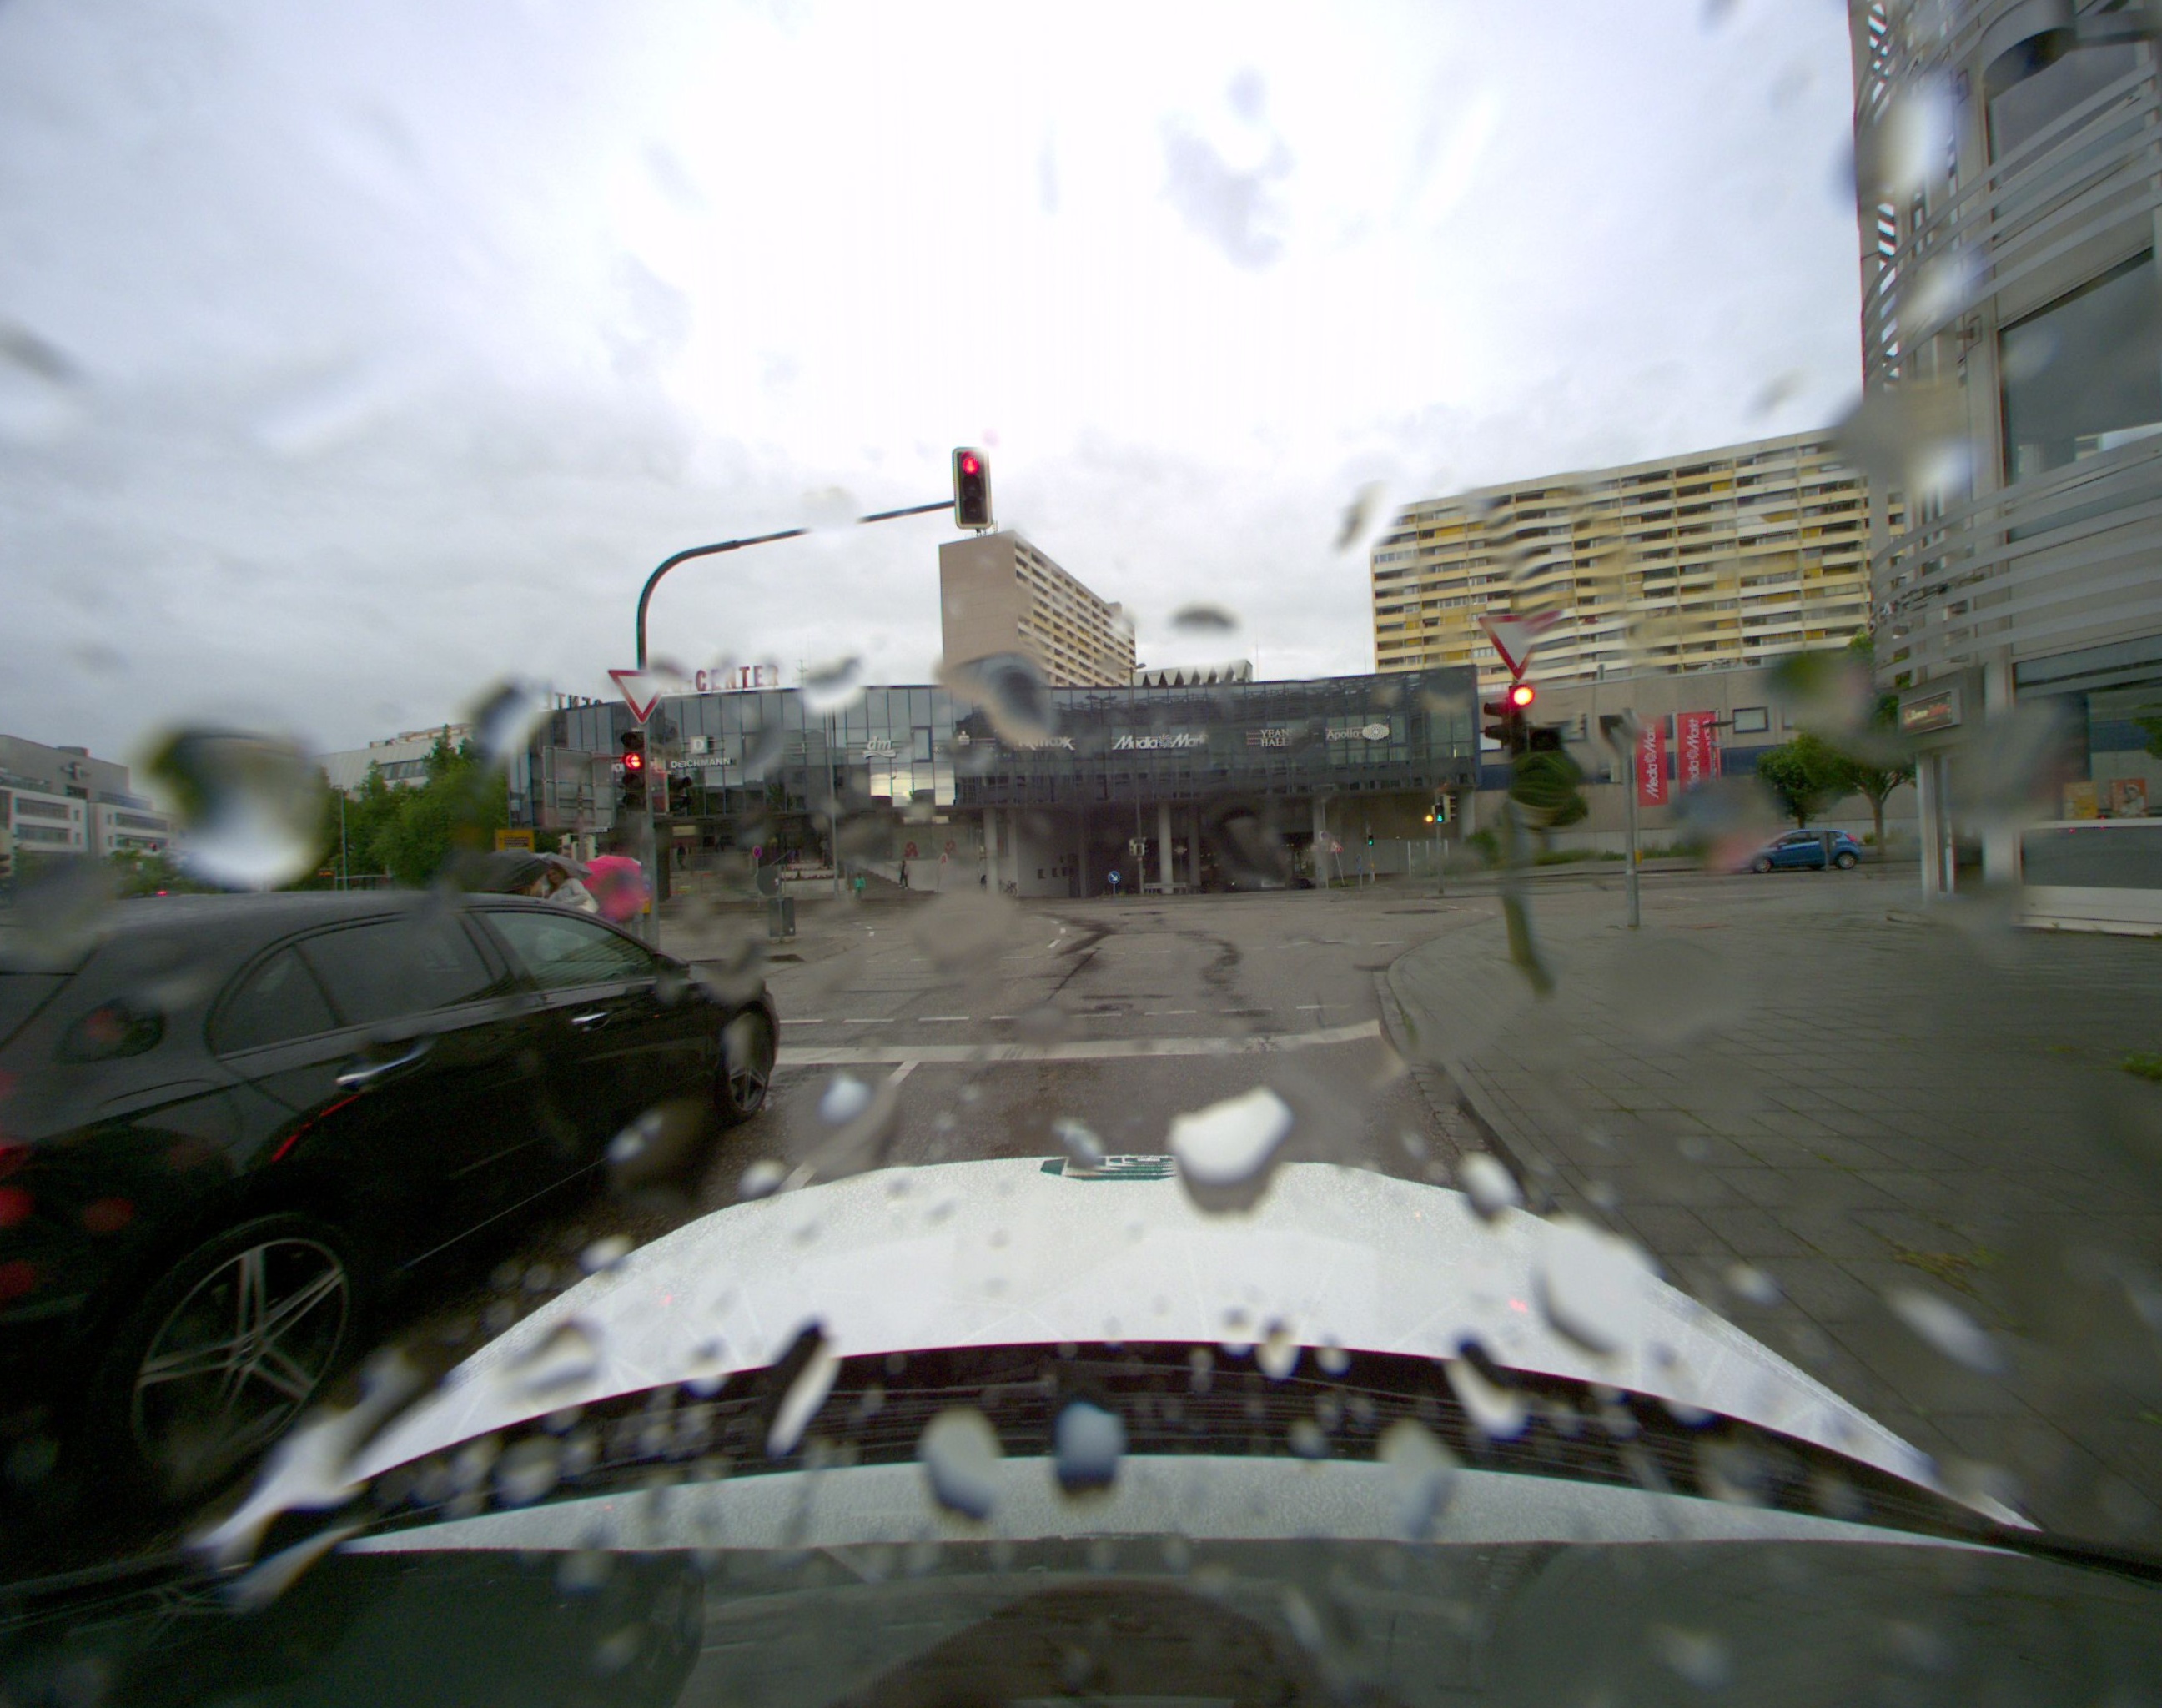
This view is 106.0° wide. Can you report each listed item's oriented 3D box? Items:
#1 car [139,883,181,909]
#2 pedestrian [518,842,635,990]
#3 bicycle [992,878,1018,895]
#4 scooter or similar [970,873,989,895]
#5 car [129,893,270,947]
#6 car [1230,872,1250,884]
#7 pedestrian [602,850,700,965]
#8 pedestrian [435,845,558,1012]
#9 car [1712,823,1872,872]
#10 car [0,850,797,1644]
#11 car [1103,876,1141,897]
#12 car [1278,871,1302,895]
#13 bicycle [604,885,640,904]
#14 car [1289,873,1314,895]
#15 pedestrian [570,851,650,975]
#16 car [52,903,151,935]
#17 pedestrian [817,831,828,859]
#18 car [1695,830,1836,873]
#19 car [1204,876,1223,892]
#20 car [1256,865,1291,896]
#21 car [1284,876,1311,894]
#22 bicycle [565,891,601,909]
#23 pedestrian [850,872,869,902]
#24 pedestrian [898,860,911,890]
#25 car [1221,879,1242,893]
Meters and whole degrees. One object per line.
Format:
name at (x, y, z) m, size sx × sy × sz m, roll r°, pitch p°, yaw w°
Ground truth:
car at (-72.566, 3.283, 64.136) m, size 4.085 × 1.895 × 2.062 m, roll -1°, pitch 0°, yaw 40°
pedestrian at (-6.376, 0.747, 10.293) m, size 1.123 × 1.744 × 0.865 m, roll -3°, pitch -1°, yaw 36°
bicycle at (-4.857, 2.098, 52.159) m, size 1.590 × 1.018 × 0.448 m, roll 5°, pitch -3°, yaw -27°
scooter or similar at (-6.459, 1.893, 51.753) m, size 1.167 × 1.373 × 0.487 m, roll 0°, pitch -1°, yaw -11°
car at (-27.165, 1.997, 25.068) m, size 5.079 × 1.414 × 2.137 m, roll -3°, pitch -2°, yaw 33°
car at (21.823, 3.327, 111.475) m, size 1.977 × 1.464 × 4.020 m, roll -3°, pitch -1°, yaw 20°
pedestrian at (-6.612, 0.793, 12.570) m, size 0.931 × 1.677 × 0.917 m, roll -2°, pitch -1°, yaw 3°
pedestrian at (-6.552, 0.799, 9.186) m, size 0.956 × 1.736 × 0.829 m, roll -2°, pitch -1°, yaw -26°
car at (24.595, -0.206, 28.314) m, size 3.817 × 1.397 × 1.685 m, roll -4°, pitch -1°, yaw 12°
car at (-2.819, 0.749, 3.408) m, size 1.656 × 1.481 × 4.097 m, roll 0°, pitch 1°, yaw 2°
car at (3.324, 2.625, 65.585) m, size 1.876 × 1.470 × 4.046 m, roll -2°, pitch -5°, yaw 20°
car at (16.220, 2.282, 63.221) m, size 1.621 × 1.612 × 4.278 m, roll -4°, pitch -4°, yaw 15°
bicycle at (-28.143, 2.484, 49.934) m, size 0.624 × 1.023 × 1.865 m, roll -3°, pitch 1°, yaw 22°
car at (19.639, 2.679, 72.331) m, size 1.777 × 1.771 × 4.019 m, roll -3°, pitch -1°, yaw 19°
pedestrian at (-6.735, 0.818, 11.646) m, size 0.811 × 1.685 × 0.665 m, roll -2°, pitch -1°, yaw -43°
car at (-48.162, 3.194, 40.040) m, size 3.947 × 1.441 × 1.755 m, roll -2°, pitch 0°, yaw 18°
pedestrian at (-16.550, -0.558, 52.151) m, size 0.633 × 1.807 × 0.502 m, roll 0°, pitch -1°, yaw -13°
car at (26.095, -0.083, 31.182) m, size 3.658 × 1.395 × 1.751 m, roll -4°, pitch -1°, yaw 13°
car at (16.015, 3.619, 98.361) m, size 1.822 × 1.728 × 4.016 m, roll -2°, pitch -1°, yaw 15°
car at (12.094, 1.645, 51.027) m, size 1.912 × 1.798 × 4.313 m, roll -3°, pitch -2°, yaw 15°
car at (18.127, 2.611, 68.042) m, size 1.765 × 1.400 × 4.019 m, roll -3°, pitch -4°, yaw 19°
bicycle at (-31.096, 2.846, 50.882) m, size 0.529 × 0.951 × 1.866 m, roll -1°, pitch 3°, yaw 25°
pedestrian at (-12.195, 1.806, 44.868) m, size 0.951 × 1.623 × 0.805 m, roll -2°, pitch -1°, yaw -15°
pedestrian at (-11.058, 1.309, 51.065) m, size 0.654 × 1.908 × 0.594 m, roll -1°, pitch -1°, yaw -3°
car at (19.220, 4.011, 103.962) m, size 1.977 × 1.664 × 4.020 m, roll -1°, pitch -1°, yaw 20°
